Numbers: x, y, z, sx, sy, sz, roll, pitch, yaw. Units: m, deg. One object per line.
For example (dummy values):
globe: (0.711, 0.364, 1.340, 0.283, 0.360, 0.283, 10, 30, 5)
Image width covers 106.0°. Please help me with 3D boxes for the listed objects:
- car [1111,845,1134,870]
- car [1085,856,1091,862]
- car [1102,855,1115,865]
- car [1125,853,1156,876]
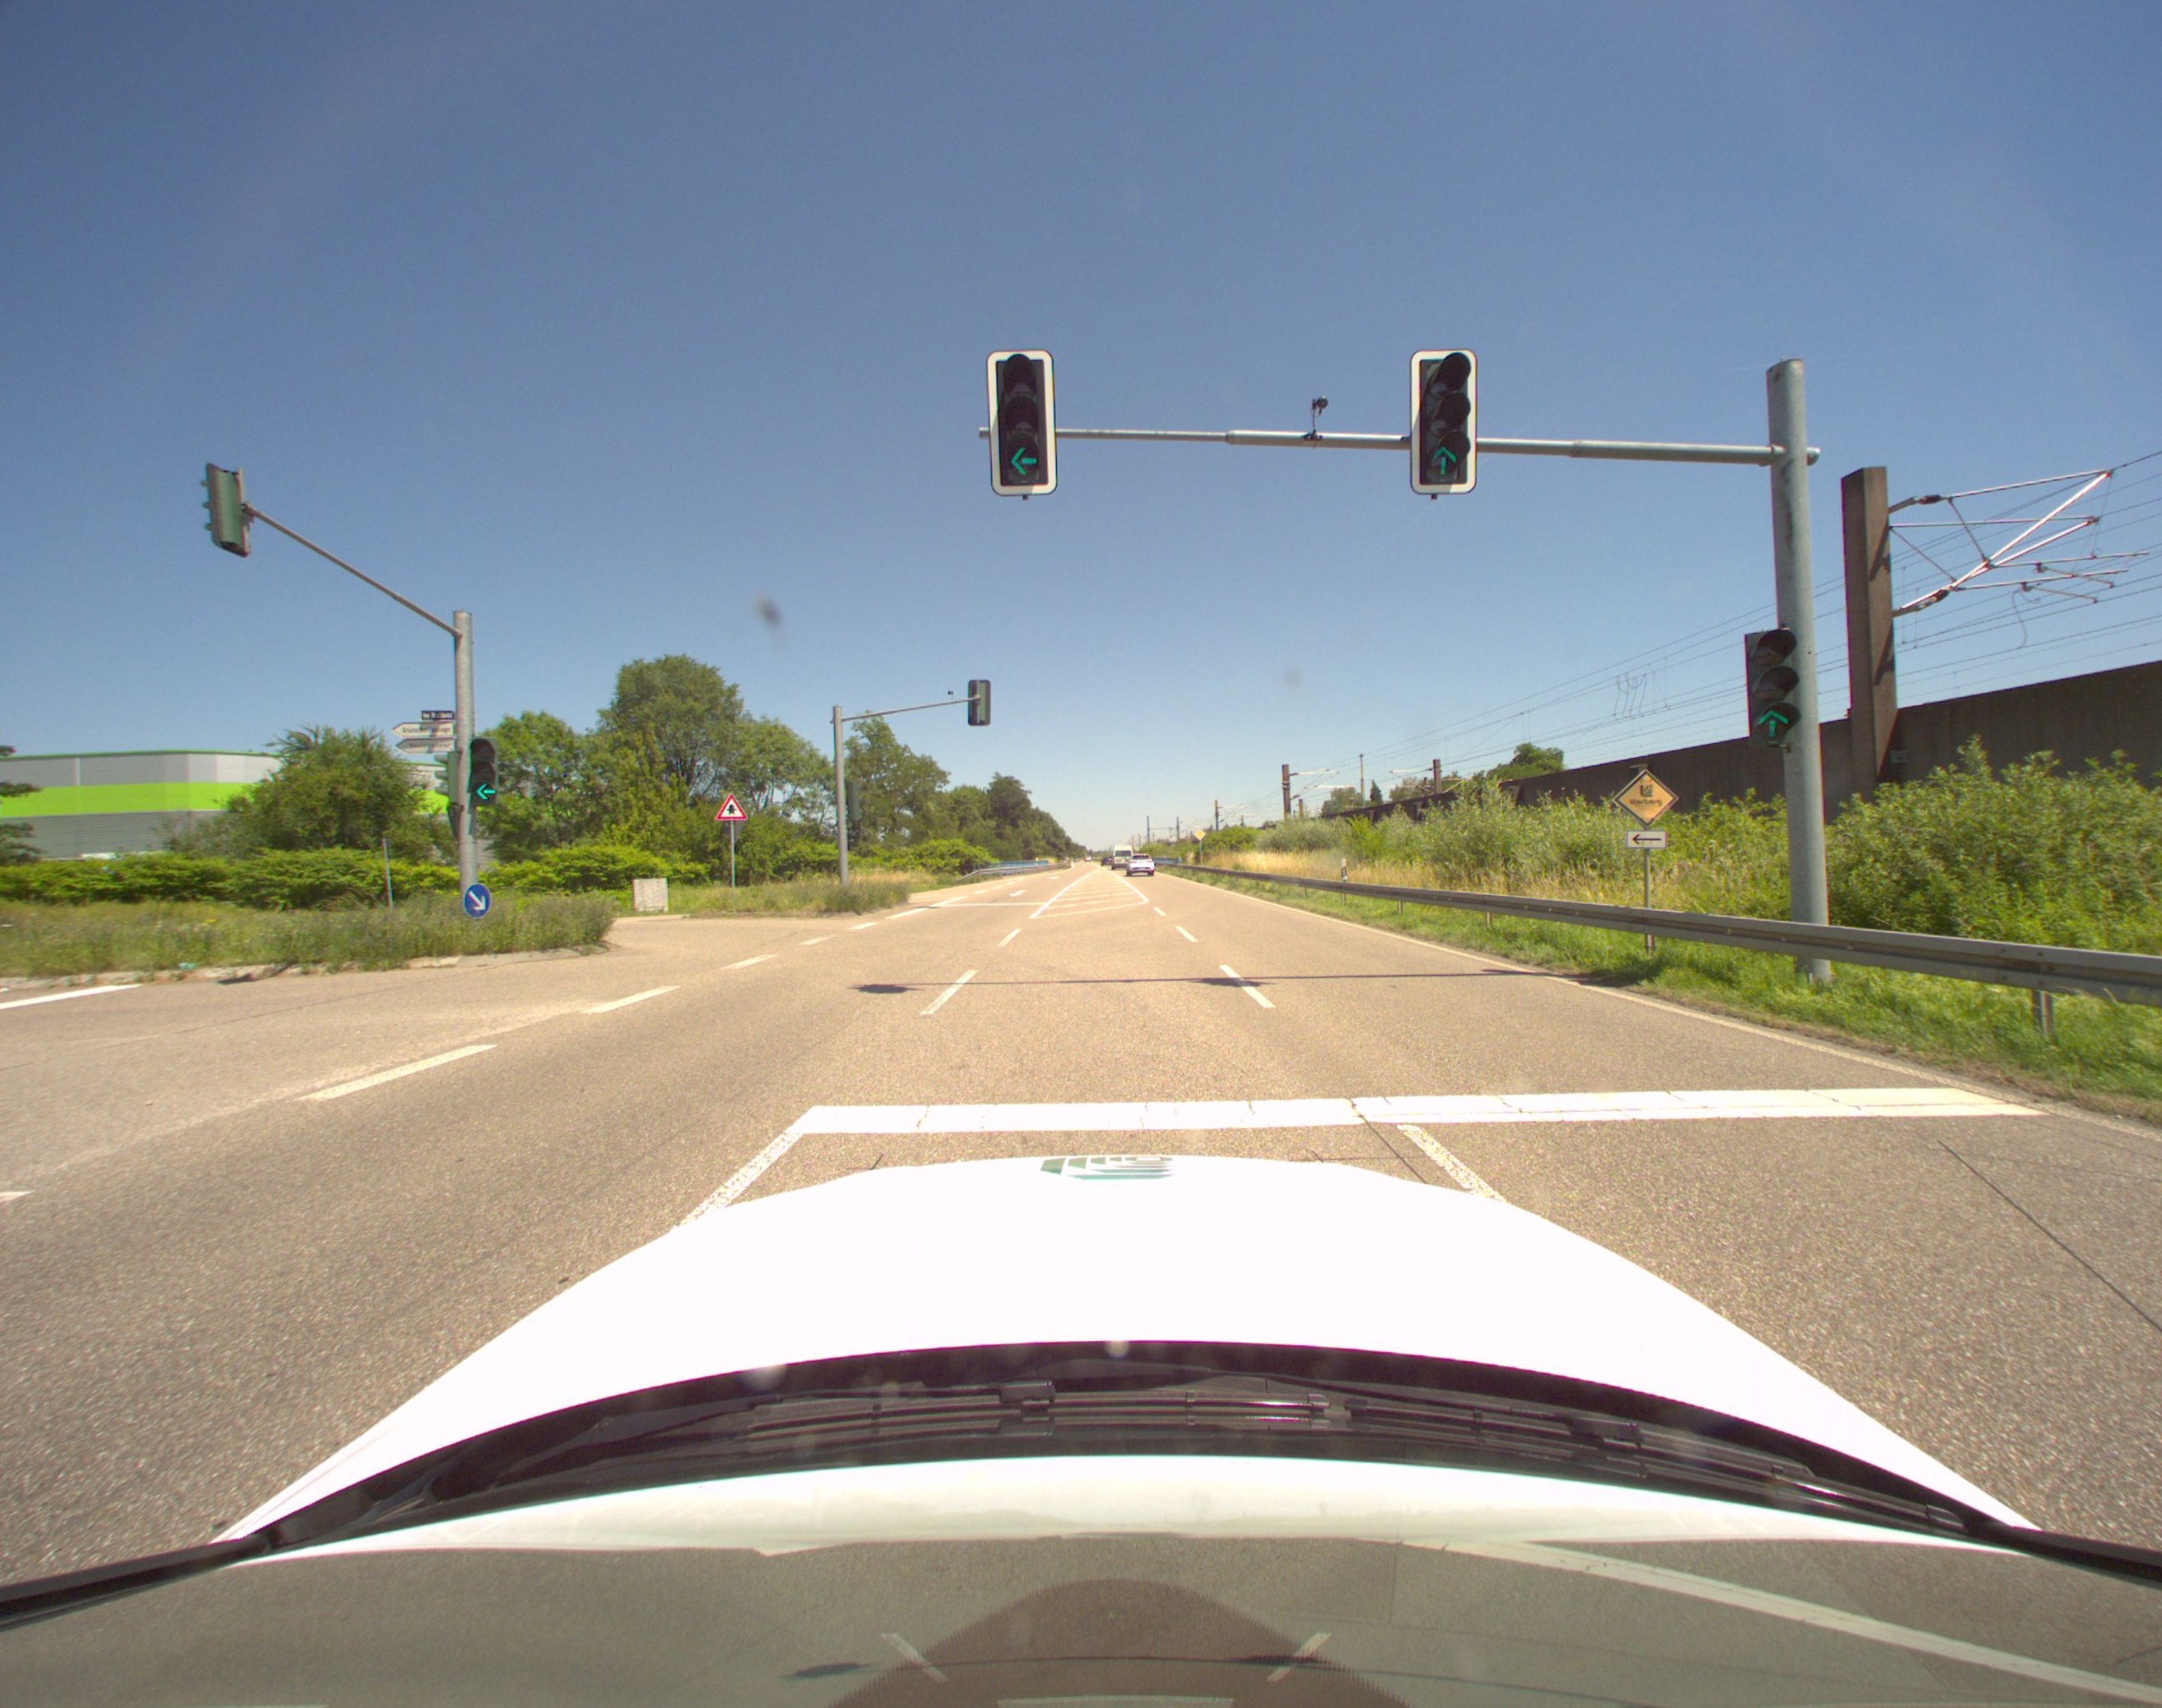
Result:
car: (4.374, 0.366, 87.017, 2.180, 2.604, 6.752, -1, 0, 1)
car: (2.273, 1.594, 256.438, 1.987, 1.983, 4.059, -1, 0, 0)
car: (4.107, 0.904, 123.267, 1.850, 1.379, 4.503, -1, 0, 1)
car: (4.185, 0.719, 57.732, 1.812, 1.564, 4.277, -1, 0, -1)
